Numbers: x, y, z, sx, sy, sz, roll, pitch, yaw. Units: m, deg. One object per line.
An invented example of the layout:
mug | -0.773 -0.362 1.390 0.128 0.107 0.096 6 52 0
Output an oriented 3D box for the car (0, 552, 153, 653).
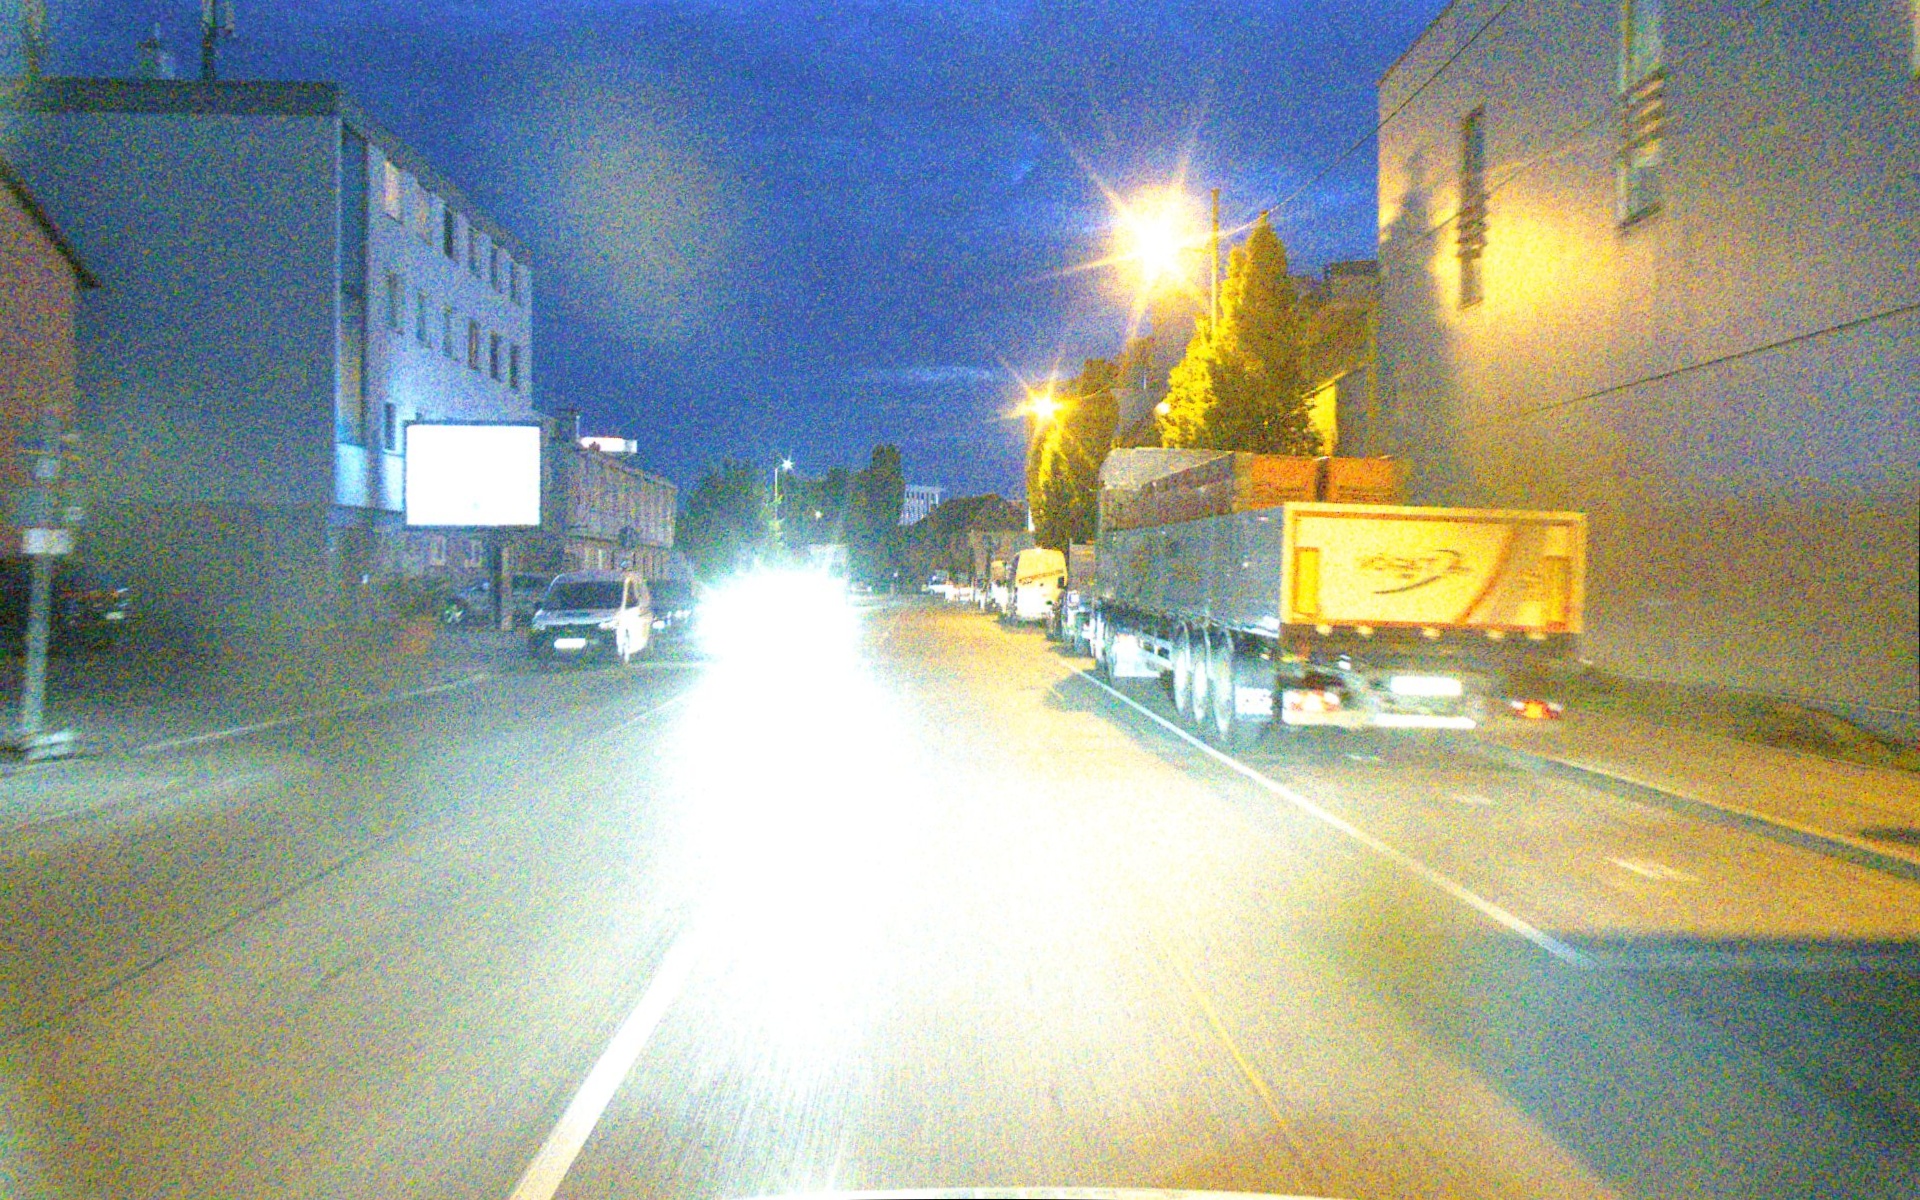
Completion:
car | -16.333 0.023 28.442 3.908 1.680 1.999 0 1 -4

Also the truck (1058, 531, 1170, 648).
truck | 3.384 -0.261 37.318 1.953 2.449 5.292 0 1 -1

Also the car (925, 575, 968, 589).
car | -1.429 -1.865 174.251 4.436 1.404 2.001 0 0 2

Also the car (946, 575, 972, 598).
car | -0.106 -1.072 129.749 1.953 1.713 4.000 0 1 -1

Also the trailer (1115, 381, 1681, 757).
trailer | 3.863 -0.277 18.014 3.120 2.797 10.713 -1 0 -1

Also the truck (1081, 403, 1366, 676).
truck | 3.726 -0.826 25.152 3.087 3.524 6.672 -1 0 -1

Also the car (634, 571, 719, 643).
car | -7.263 0.129 42.700 1.645 1.766 4.353 0 1 -3

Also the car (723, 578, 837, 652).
car | -3.629 0.262 33.981 1.953 1.422 4.000 0 1 -1

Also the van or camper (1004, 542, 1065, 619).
van or camper | 2.605 -0.698 59.037 1.953 2.626 4.915 0 1 0

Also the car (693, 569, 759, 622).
car | -8.054 -0.201 57.312 1.859 1.766 4.353 0 1 -3

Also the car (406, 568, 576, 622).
car | -13.610 -0.180 47.993 4.552 1.511 1.986 0 1 -24

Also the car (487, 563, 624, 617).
car | -13.073 -0.333 53.435 3.941 1.622 1.982 -2 0 -28

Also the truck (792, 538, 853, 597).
truck | -9.102 -2.121 108.739 3.816 3.684 8.250 0 1 -6

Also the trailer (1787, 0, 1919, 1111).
trailer | 4.299 -0.245 1.698 2.633 3.525 7.804 0 0 -3

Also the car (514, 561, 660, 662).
car | -7.075 0.172 31.791 1.953 1.825 4.000 0 1 -1

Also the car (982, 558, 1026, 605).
car | 2.086 -0.909 79.427 1.953 2.183 4.000 0 1 -1
